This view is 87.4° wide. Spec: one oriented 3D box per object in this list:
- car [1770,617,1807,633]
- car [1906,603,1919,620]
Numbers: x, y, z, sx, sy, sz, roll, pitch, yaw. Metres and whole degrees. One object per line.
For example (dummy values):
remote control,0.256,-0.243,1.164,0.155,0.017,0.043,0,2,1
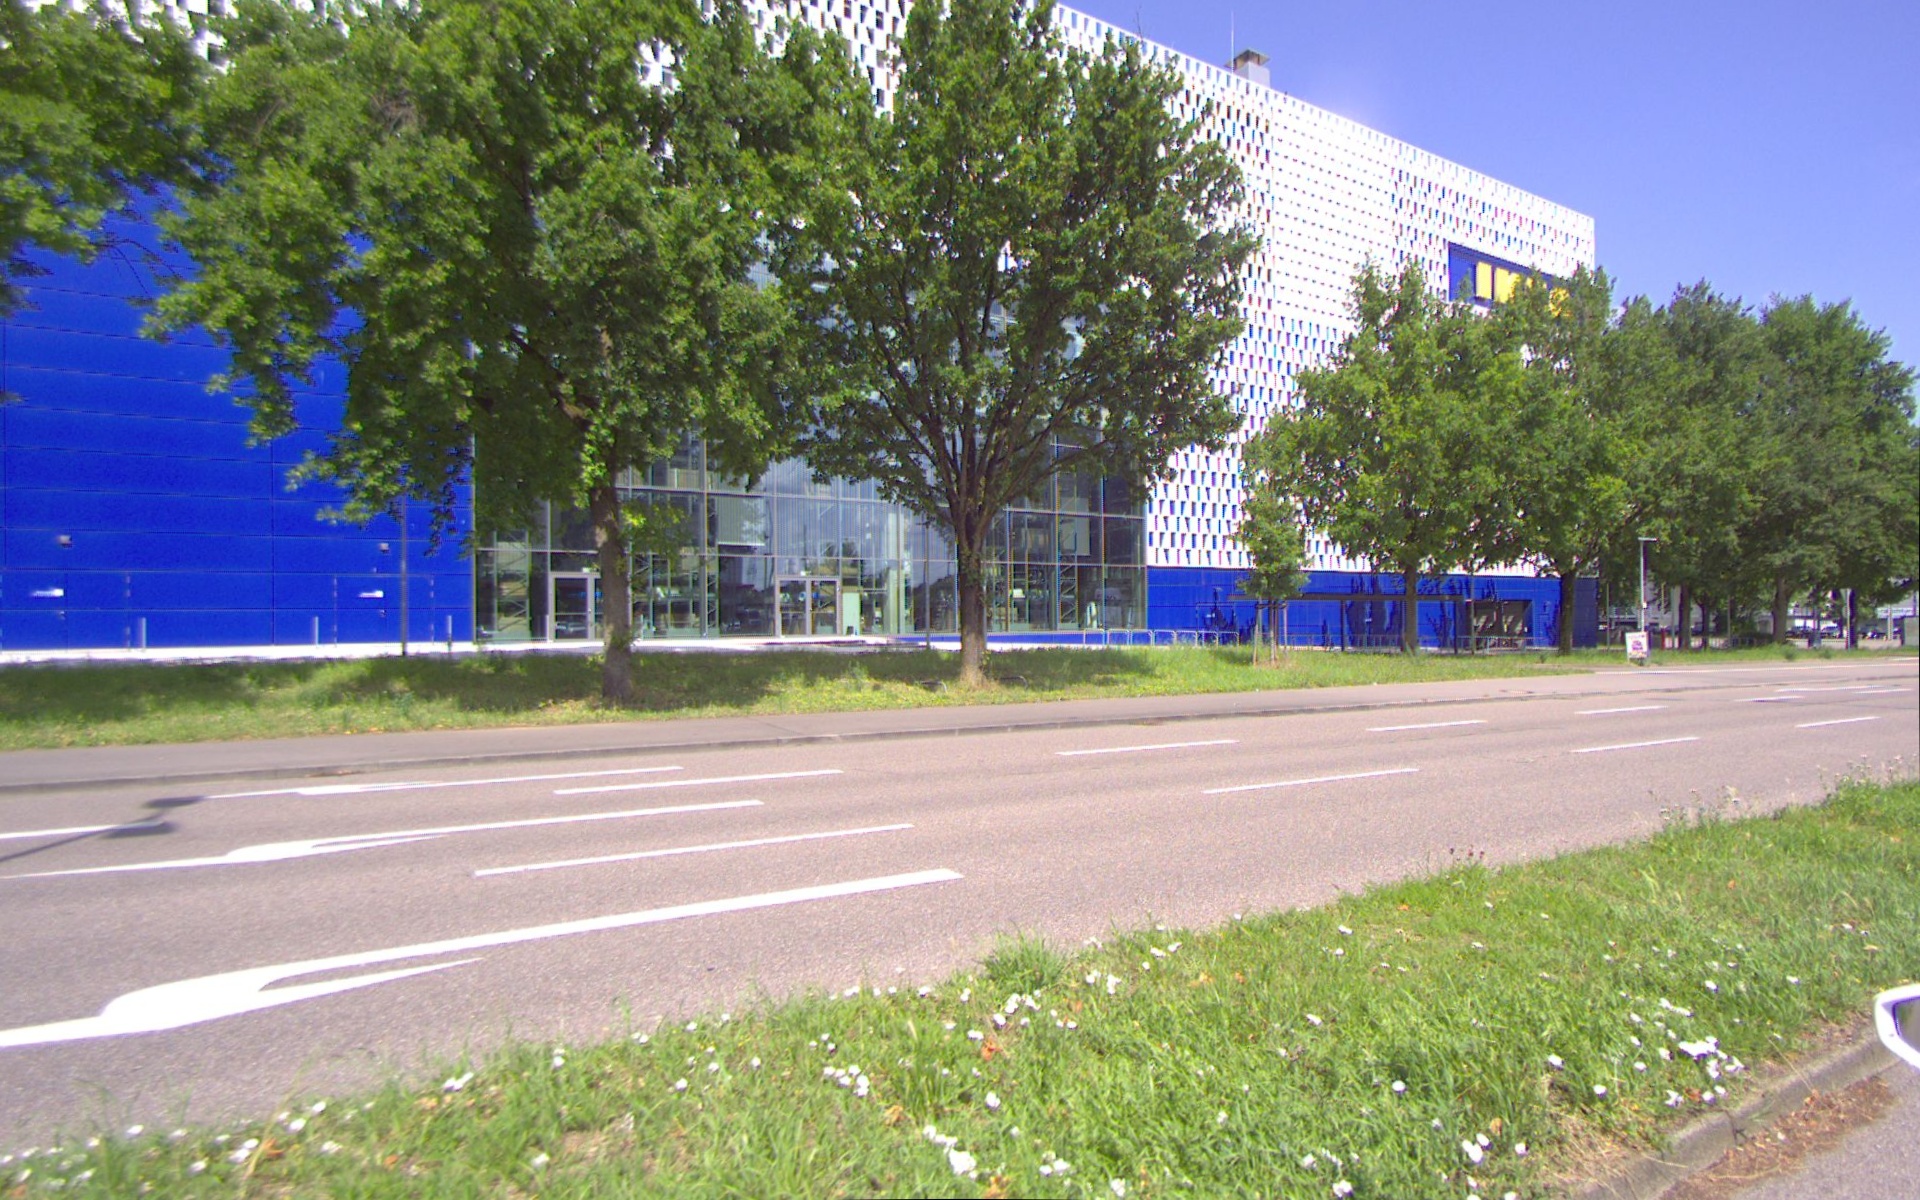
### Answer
car,82.192,2.458,99.680,3.661,1.507,1.826,-1,-1,-33
car,88.368,1.024,91.849,3.659,1.506,1.869,-1,-1,-32
